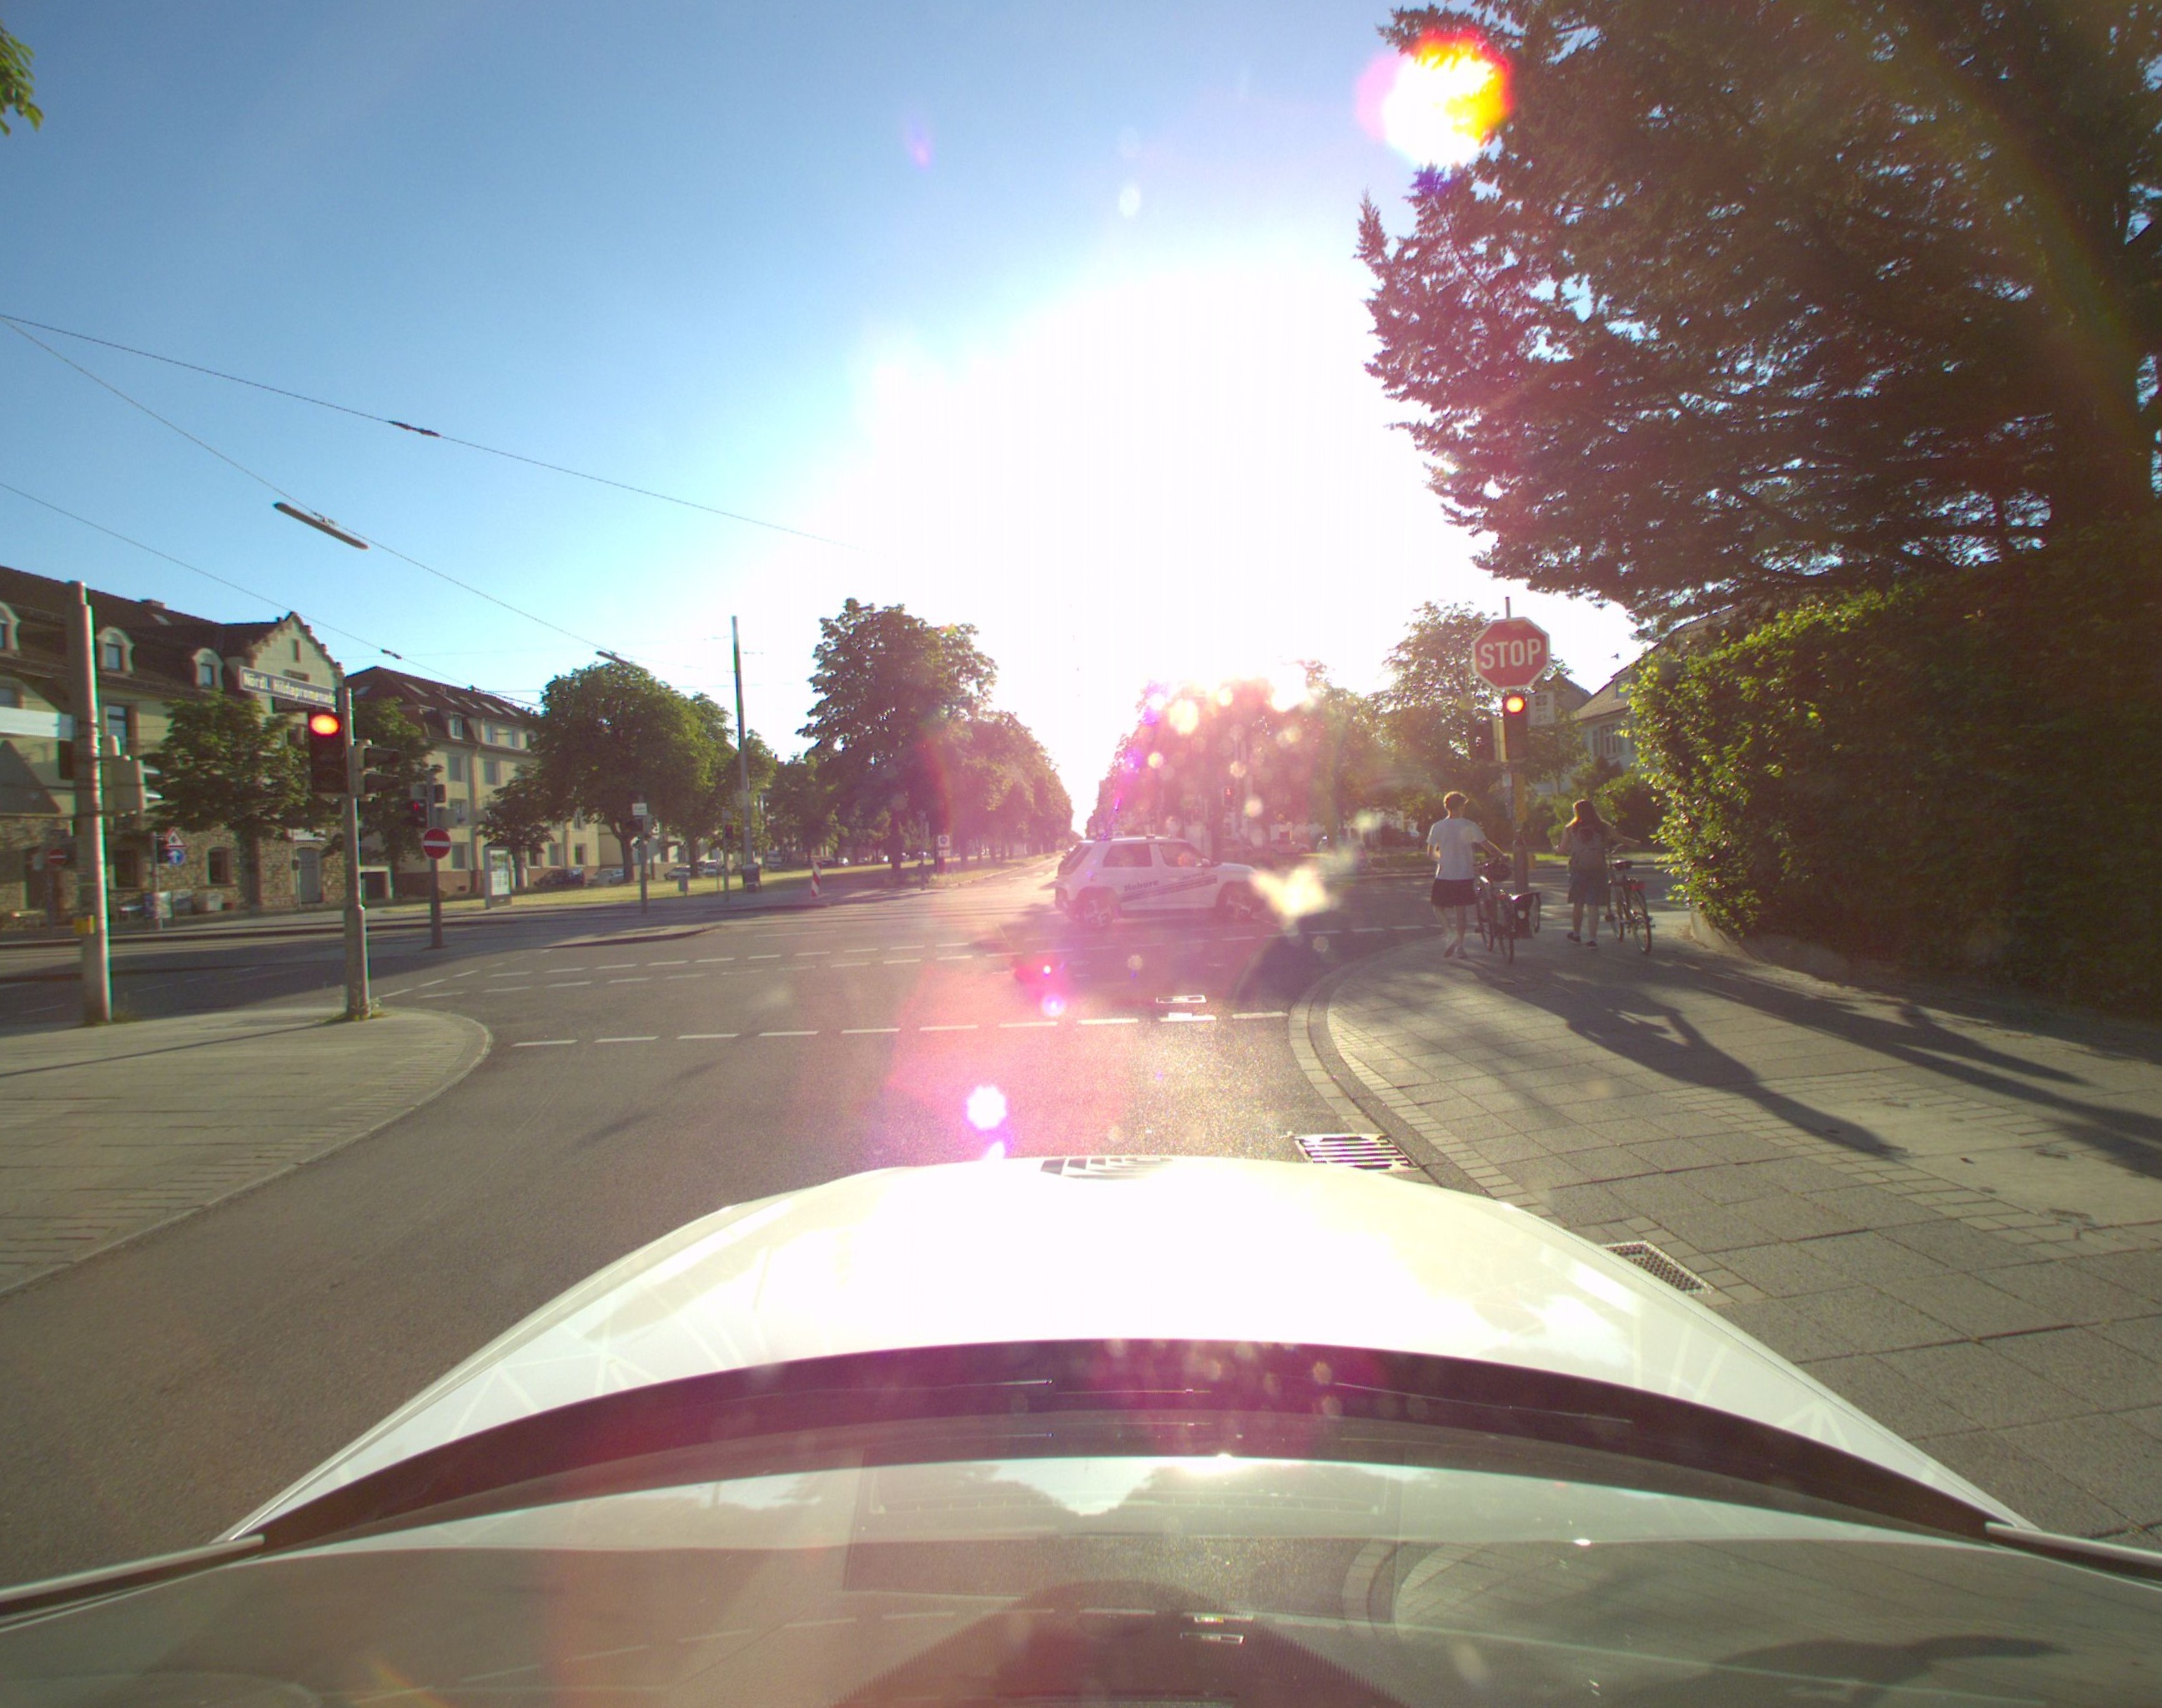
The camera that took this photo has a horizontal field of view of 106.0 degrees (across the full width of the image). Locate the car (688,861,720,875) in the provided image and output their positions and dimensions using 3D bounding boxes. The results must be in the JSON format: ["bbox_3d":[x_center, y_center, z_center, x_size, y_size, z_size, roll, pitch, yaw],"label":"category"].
[{"bbox_3d":[-43.113,1.549,93.263,1.732,1.427,3.793,-2,0,1],"label":"car"}]

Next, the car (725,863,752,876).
[{"bbox_3d":[-43.535,1.993,103.552,1.732,1.427,3.793,-2,0,1],"label":"car"}]

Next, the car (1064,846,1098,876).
[{"bbox_3d":[0.029,0.345,44.023,1.634,1.450,3.310,-2,1,3],"label":"car"}]

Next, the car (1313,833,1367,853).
[{"bbox_3d":[20.891,-0.879,65.700,3.838,1.427,1.595,-2,0,-4],"label":"car"}]

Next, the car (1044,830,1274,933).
[{"bbox_3d":[1.381,0.426,14.906,3.867,1.551,1.606,-3,2,-12],"label":"car"}]

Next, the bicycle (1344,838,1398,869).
[{"bbox_3d":[11.640,-0.016,32.710,1.946,1.132,0.620,-2,0,2],"label":"bicycle"}]

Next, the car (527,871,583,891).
[{"bbox_3d":[-43.121,2.181,66.855,1.729,1.397,3.799,-2,0,6],"label":"car"}]

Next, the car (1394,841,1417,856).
[{"bbox_3d":[33.297,-0.550,83.426,1.648,1.417,3.565,-2,0,30],"label":"car"}]

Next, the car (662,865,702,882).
[{"bbox_3d":[-37.357,1.779,76.386,1.732,1.427,3.793,-2,1,1],"label":"car"}]

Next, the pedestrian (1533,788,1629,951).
[{"bbox_3d":[5.528,0.160,9.045,0.663,1.708,0.626,-6,1,20],"label":"pedestrian"}]

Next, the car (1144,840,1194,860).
[{"bbox_3d":[6.999,-0.311,64.985,3.767,1.427,1.744,-2,2,0],"label":"car"}]

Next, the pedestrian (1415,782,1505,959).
[{"bbox_3d":[4.289,0.187,9.282,0.665,1.865,0.886,-6,-2,19],"label":"pedestrian"}]

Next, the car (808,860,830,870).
[{"bbox_3d":[-37.710,1.572,117.254,1.732,1.427,3.793,-2,0,1],"label":"car"}]

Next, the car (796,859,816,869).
[{"bbox_3d":[-43.091,1.491,127.638,1.732,1.427,3.793,-2,0,1],"label":"car"}]

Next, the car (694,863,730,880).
[{"bbox_3d":[-37.322,1.740,82.436,1.732,1.427,3.793,-2,2,1],"label":"car"}]

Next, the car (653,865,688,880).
[{"bbox_3d":[-43.924,1.964,87.186,1.732,1.427,3.793,-2,0,1],"label":"car"}]

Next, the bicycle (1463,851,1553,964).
[{"bbox_3d":[4.711,0.544,9.089,0.483,1.097,1.799,-5,-1,17],"label":"bicycle"}]

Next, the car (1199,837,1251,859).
[{"bbox_3d":[11.499,-0.506,65.205,3.767,1.525,1.744,-2,2,0],"label":"car"}]

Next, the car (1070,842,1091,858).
[{"bbox_3d":[-0.015,-0.376,78.118,1.839,1.393,3.829,-2,1,1],"label":"car"}]

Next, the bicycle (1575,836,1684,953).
[{"bbox_3d":[5.960,0.394,8.925,0.483,1.142,1.605,-5,0,18],"label":"bicycle"}]

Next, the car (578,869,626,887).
[{"bbox_3d":[-43.060,2.115,73.274,1.729,1.427,3.799,-2,0,6],"label":"car"}]

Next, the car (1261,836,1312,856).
[{"bbox_3d":[16.379,-0.624,65.033,3.656,1.427,1.529,-2,0,-4],"label":"car"}]
